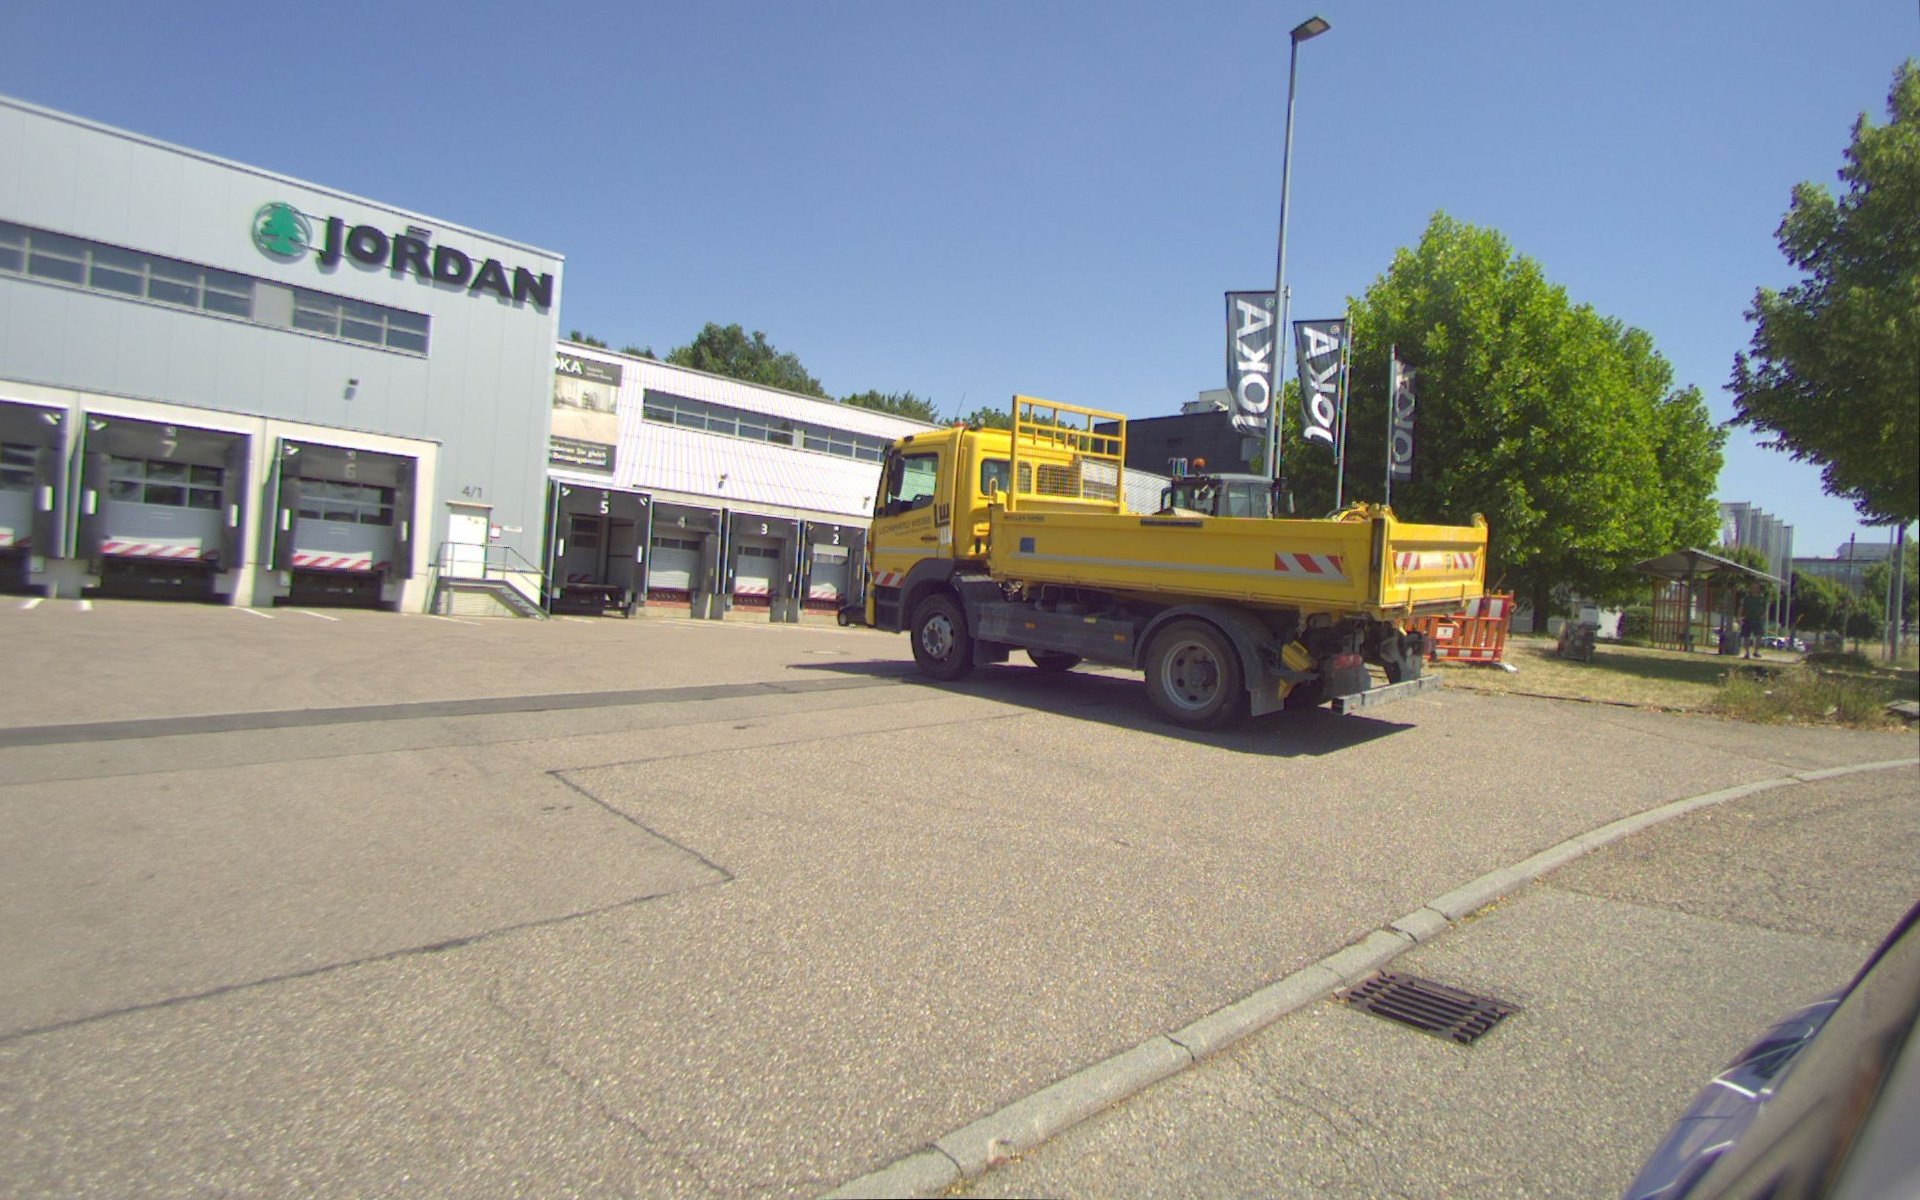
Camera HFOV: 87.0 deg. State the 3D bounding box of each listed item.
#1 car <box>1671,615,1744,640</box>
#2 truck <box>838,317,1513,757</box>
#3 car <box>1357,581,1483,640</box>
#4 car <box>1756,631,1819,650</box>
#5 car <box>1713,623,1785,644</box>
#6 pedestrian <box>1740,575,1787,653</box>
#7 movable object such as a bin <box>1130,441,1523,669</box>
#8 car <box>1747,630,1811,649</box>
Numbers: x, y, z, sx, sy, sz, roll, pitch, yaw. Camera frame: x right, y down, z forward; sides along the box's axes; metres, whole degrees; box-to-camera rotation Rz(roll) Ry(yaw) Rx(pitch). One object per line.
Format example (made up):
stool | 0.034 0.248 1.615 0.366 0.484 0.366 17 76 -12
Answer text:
car | 49.881 1.834 67.603 1.628 1.342 3.660 6 -2 -42
truck | 1.768 -0.656 10.500 6.408 3.174 2.554 5 4 45
car | 18.290 0.396 40.330 4.243 2.039 1.527 3 -2 38
car | 69.682 3.415 85.277 1.676 1.290 3.886 2 2 -43
car | 57.267 2.415 73.463 1.676 1.290 3.885 2 1 -43
pedestrian | 18.034 0.308 22.720 0.520 1.691 0.580 5 -2 -14
movable object such as a bin | 5.417 -0.536 14.350 6.455 2.613 2.000 1 2 -37
car | 67.652 3.234 83.644 1.676 1.290 3.885 2 1 -43
